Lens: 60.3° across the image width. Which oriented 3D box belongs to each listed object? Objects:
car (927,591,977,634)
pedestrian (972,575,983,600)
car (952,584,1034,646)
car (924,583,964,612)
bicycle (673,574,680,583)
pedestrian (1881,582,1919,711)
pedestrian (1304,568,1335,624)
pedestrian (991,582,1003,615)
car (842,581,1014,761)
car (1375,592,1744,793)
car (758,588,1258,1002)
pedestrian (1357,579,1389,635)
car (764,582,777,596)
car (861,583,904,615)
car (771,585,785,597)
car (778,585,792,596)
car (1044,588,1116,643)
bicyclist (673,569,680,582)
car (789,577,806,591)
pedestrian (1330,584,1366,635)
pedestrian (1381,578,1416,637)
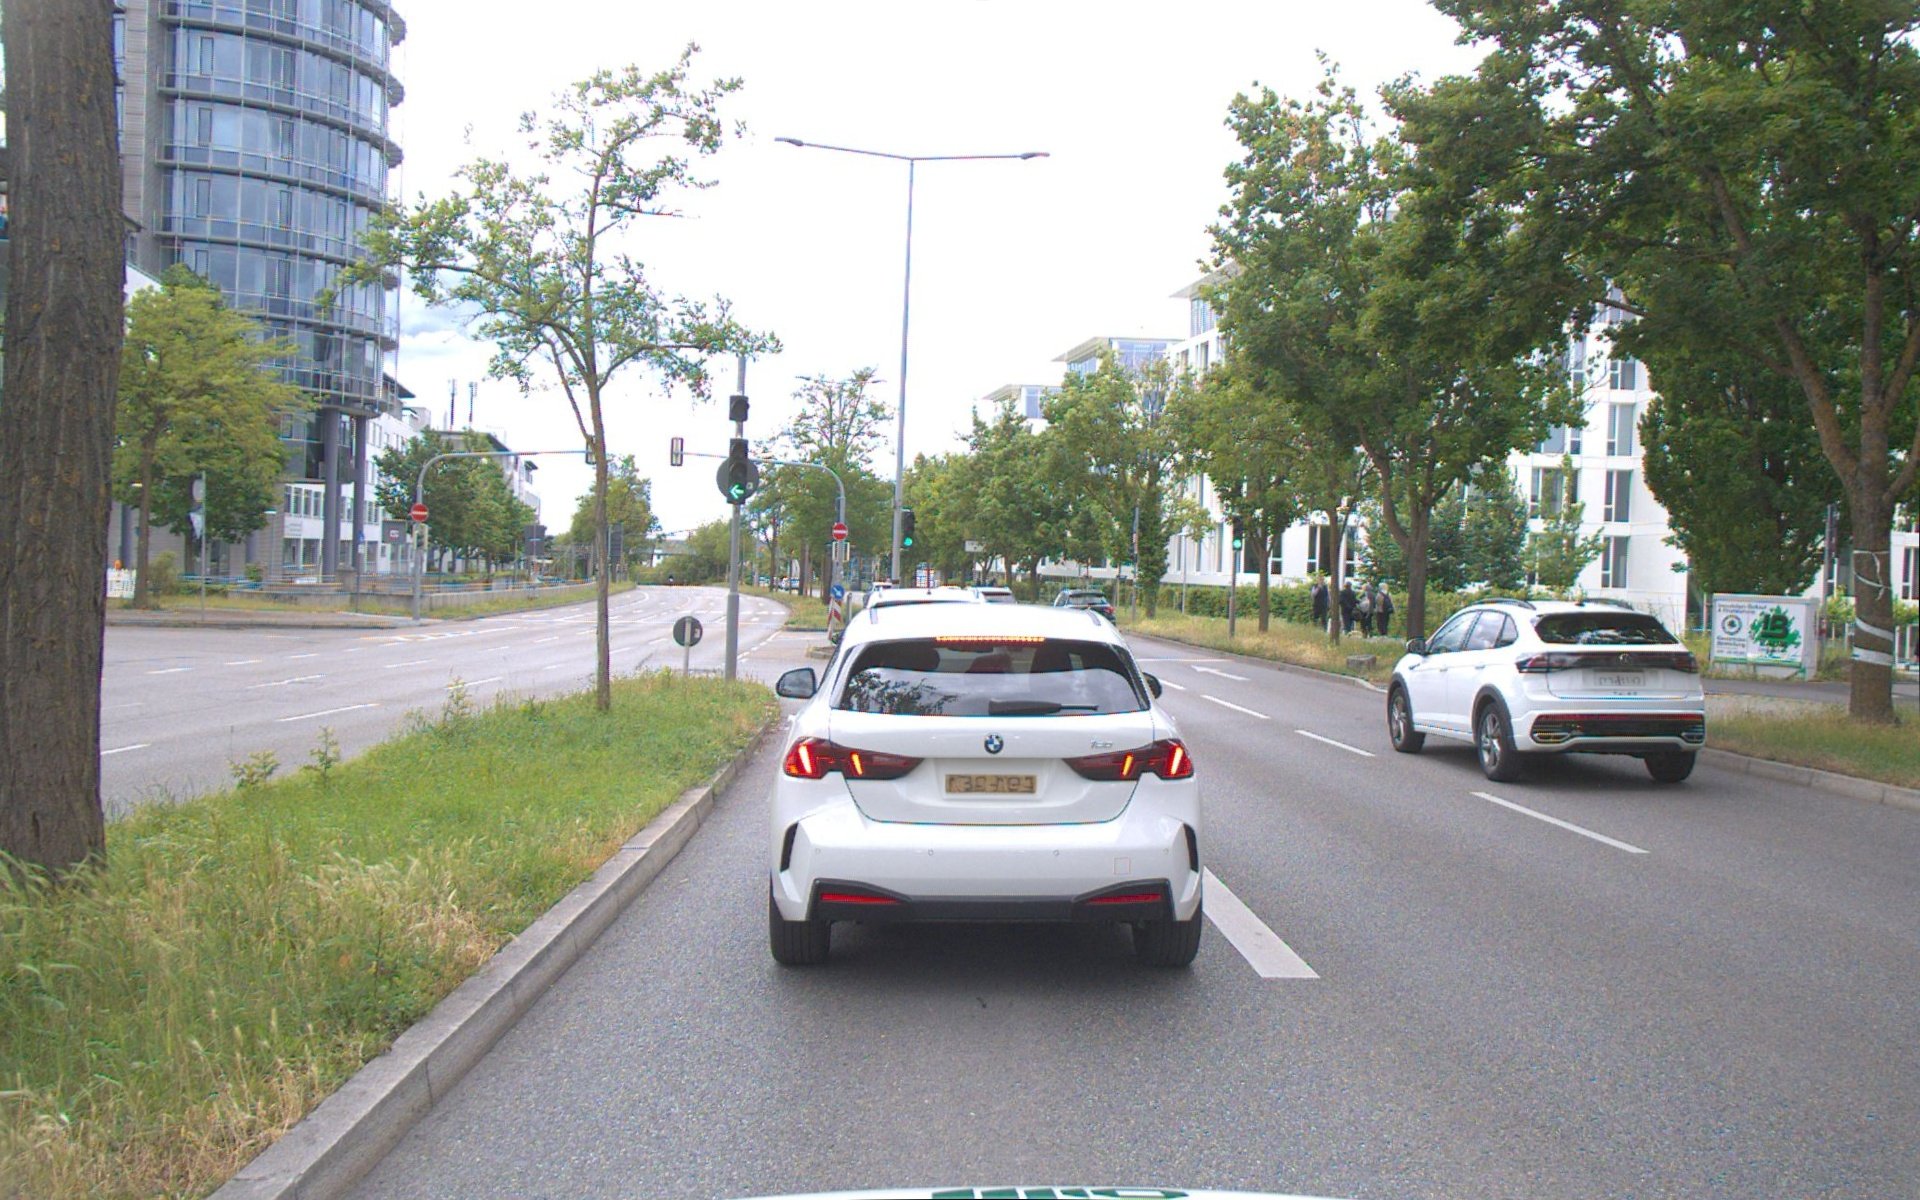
[{"bbox_3d":[-0.320,0.442,60.759,1.574,1.494,3.672,1,0,-4],"label":"car"},{"bbox_3d":[1.505,-1.054,140.349,0.749,2.049,0.751,1,-1,-16],"label":"pedestrian"},{"bbox_3d":[0.860,0.384,45.359,1.818,1.624,4.309,0,0,-5],"label":"car"},{"bbox_3d":[-0.856,-0.144,87.396,1.623,1.450,3.528,0,0,-9],"label":"car"},{"bbox_3d":[-35.728,-2.705,208.540,0.795,1.123,2.552,1,0,-8],"label":"bicycle"},{"bbox_3d":[13.071,0.619,22.265,0.779,1.689,1.060,1,0,5],"label":"pedestrian"},{"bbox_3d":[10.471,-0.111,48.172,0.726,1.601,0.674,1,-1,-2],"label":"pedestrian"},{"bbox_3d":[2.966,-0.114,132.310,0.814,2.673,0.646,1,0,-1],"label":"pedestrian"},{"bbox_3d":[-0.315,0.633,16.966,1.518,1.596,3.999,1,0,-1],"label":"car"},{"bbox_3d":[5.288,0.730,15.190,1.682,1.583,4.086,1,0,-4],"label":"car"},{"bbox_3d":[0.151,0.702,8.014,1.785,1.463,3.999,1,0,-1],"label":"car"},{"bbox_3d":[12.191,0.212,48.843,0.685,1.623,0.883,1,-1,-2],"label":"pedestrian"},{"bbox_3d":[-26.201,-1.507,228.493,1.663,1.747,3.994,1,0,-7],"label":"car"},{"bbox_3d":[-4.195,-0.072,89.396,1.856,1.623,4.305,1,0,-9],"label":"car"},{"bbox_3d":[-27.571,-1.366,250.558,1.957,1.763,3.991,1,0,-10],"label":"car"},{"bbox_3d":[-24.076,-1.294,227.820,1.661,1.512,3.686,1,0,-9],"label":"car"},{"bbox_3d":[3.516,0.446,48.848,1.624,1.539,3.997,1,0,-3],"label":"car"},{"bbox_3d":[-35.728,-3.068,208.612,0.795,1.681,1.186,1,0,-8],"label":"bicyclist"},{"bbox_3d":[-20.014,-1.970,203.633,1.956,1.699,3.993,0,0,-8],"label":"car"},{"bbox_3d":[11.432,0.274,48.773,0.773,1.473,1.111,1,0,-2],"label":"pedestrian"},{"bbox_3d":[12.947,0.225,48.880,0.751,1.715,0.883,1,-1,-2],"label":"pedestrian"}]
